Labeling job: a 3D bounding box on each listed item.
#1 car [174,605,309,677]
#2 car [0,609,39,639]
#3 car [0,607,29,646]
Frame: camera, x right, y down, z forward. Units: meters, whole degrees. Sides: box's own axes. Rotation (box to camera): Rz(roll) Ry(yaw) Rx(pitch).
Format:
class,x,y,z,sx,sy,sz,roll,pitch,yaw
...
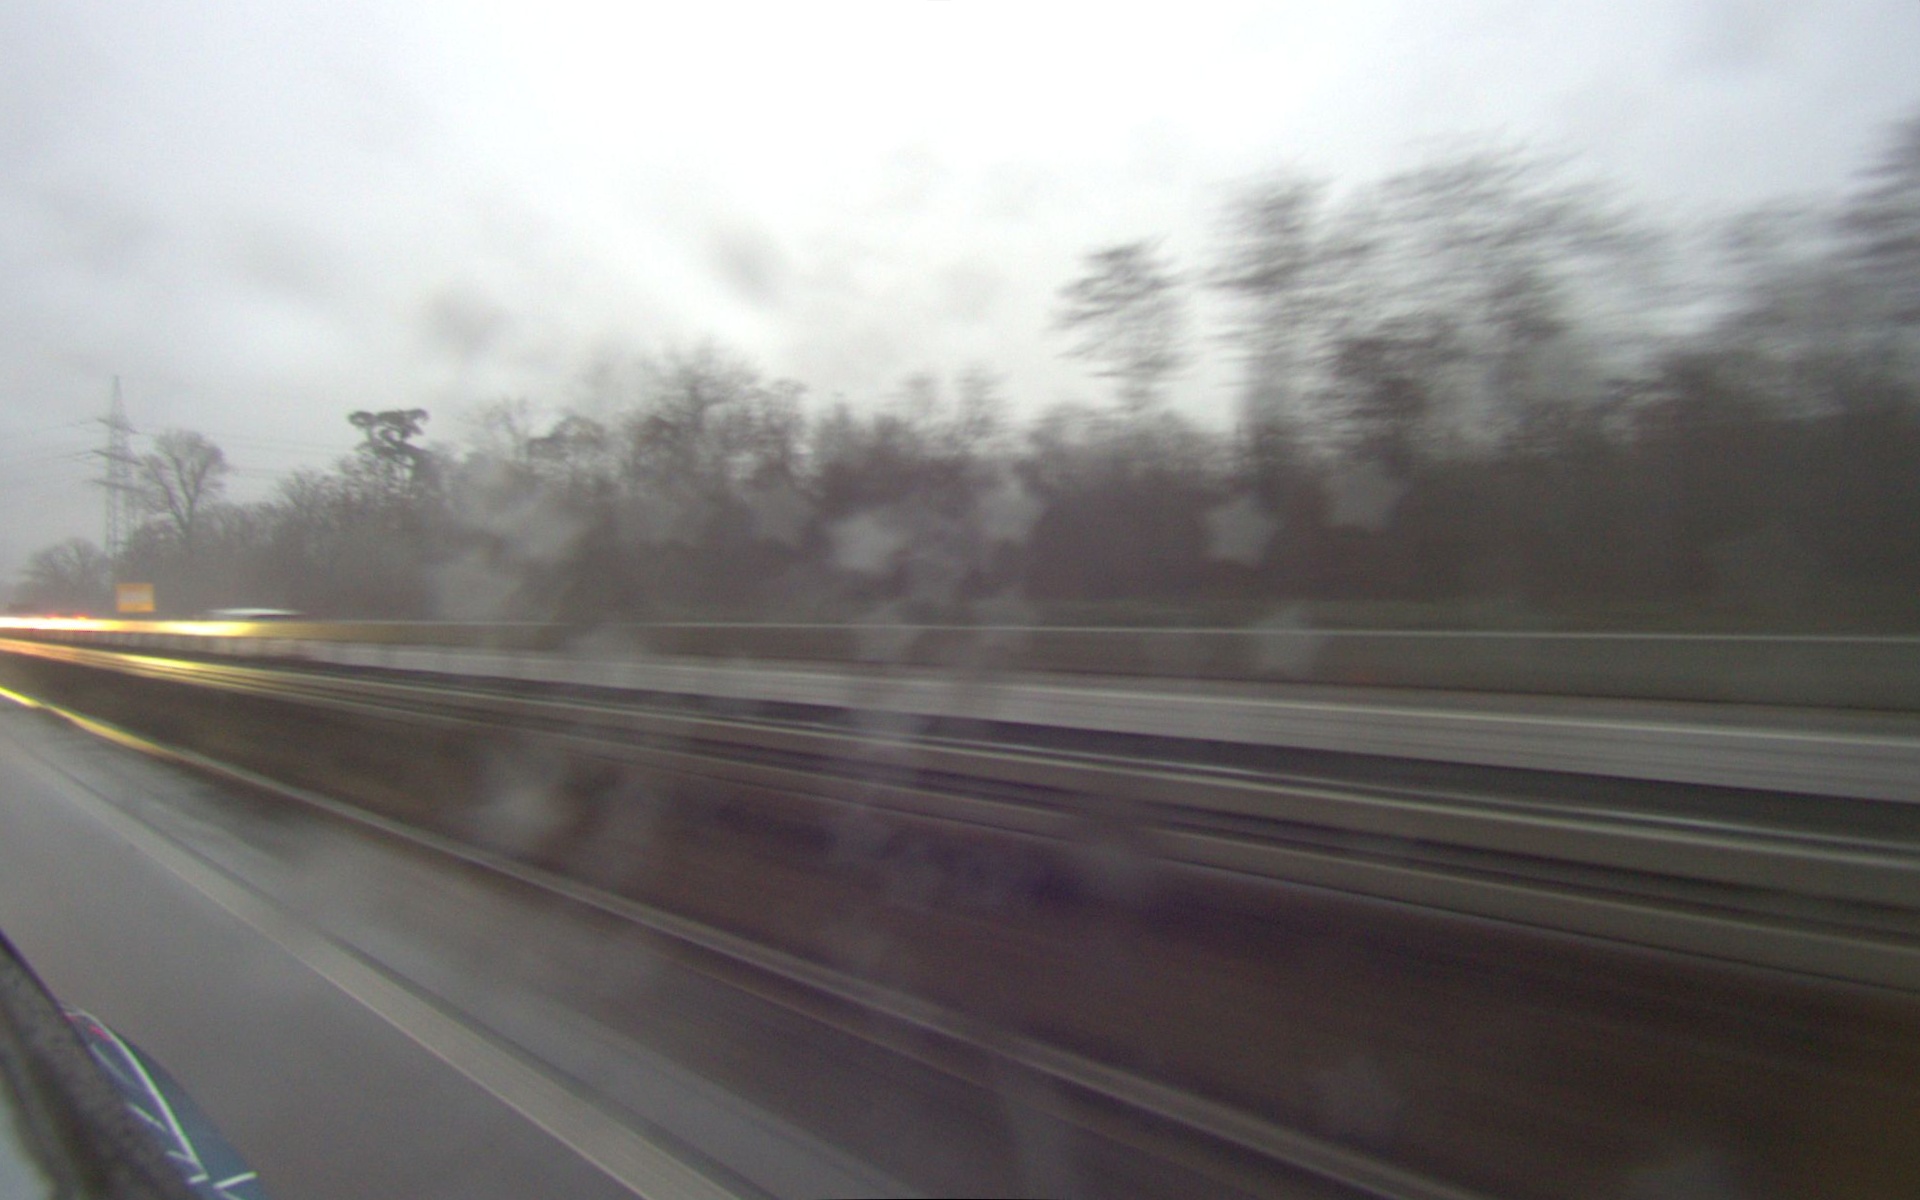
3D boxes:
class,x,y,z,sx,sy,sz,roll,pitch,yaw
car,-17.727,0.951,24.897,4.575,1.545,1.667,-1,1,41
car,-75.541,1.917,81.085,4.919,2.229,1.973,-1,2,42
car,-51.519,1.423,54.116,3.996,2.028,1.974,-1,1,40
